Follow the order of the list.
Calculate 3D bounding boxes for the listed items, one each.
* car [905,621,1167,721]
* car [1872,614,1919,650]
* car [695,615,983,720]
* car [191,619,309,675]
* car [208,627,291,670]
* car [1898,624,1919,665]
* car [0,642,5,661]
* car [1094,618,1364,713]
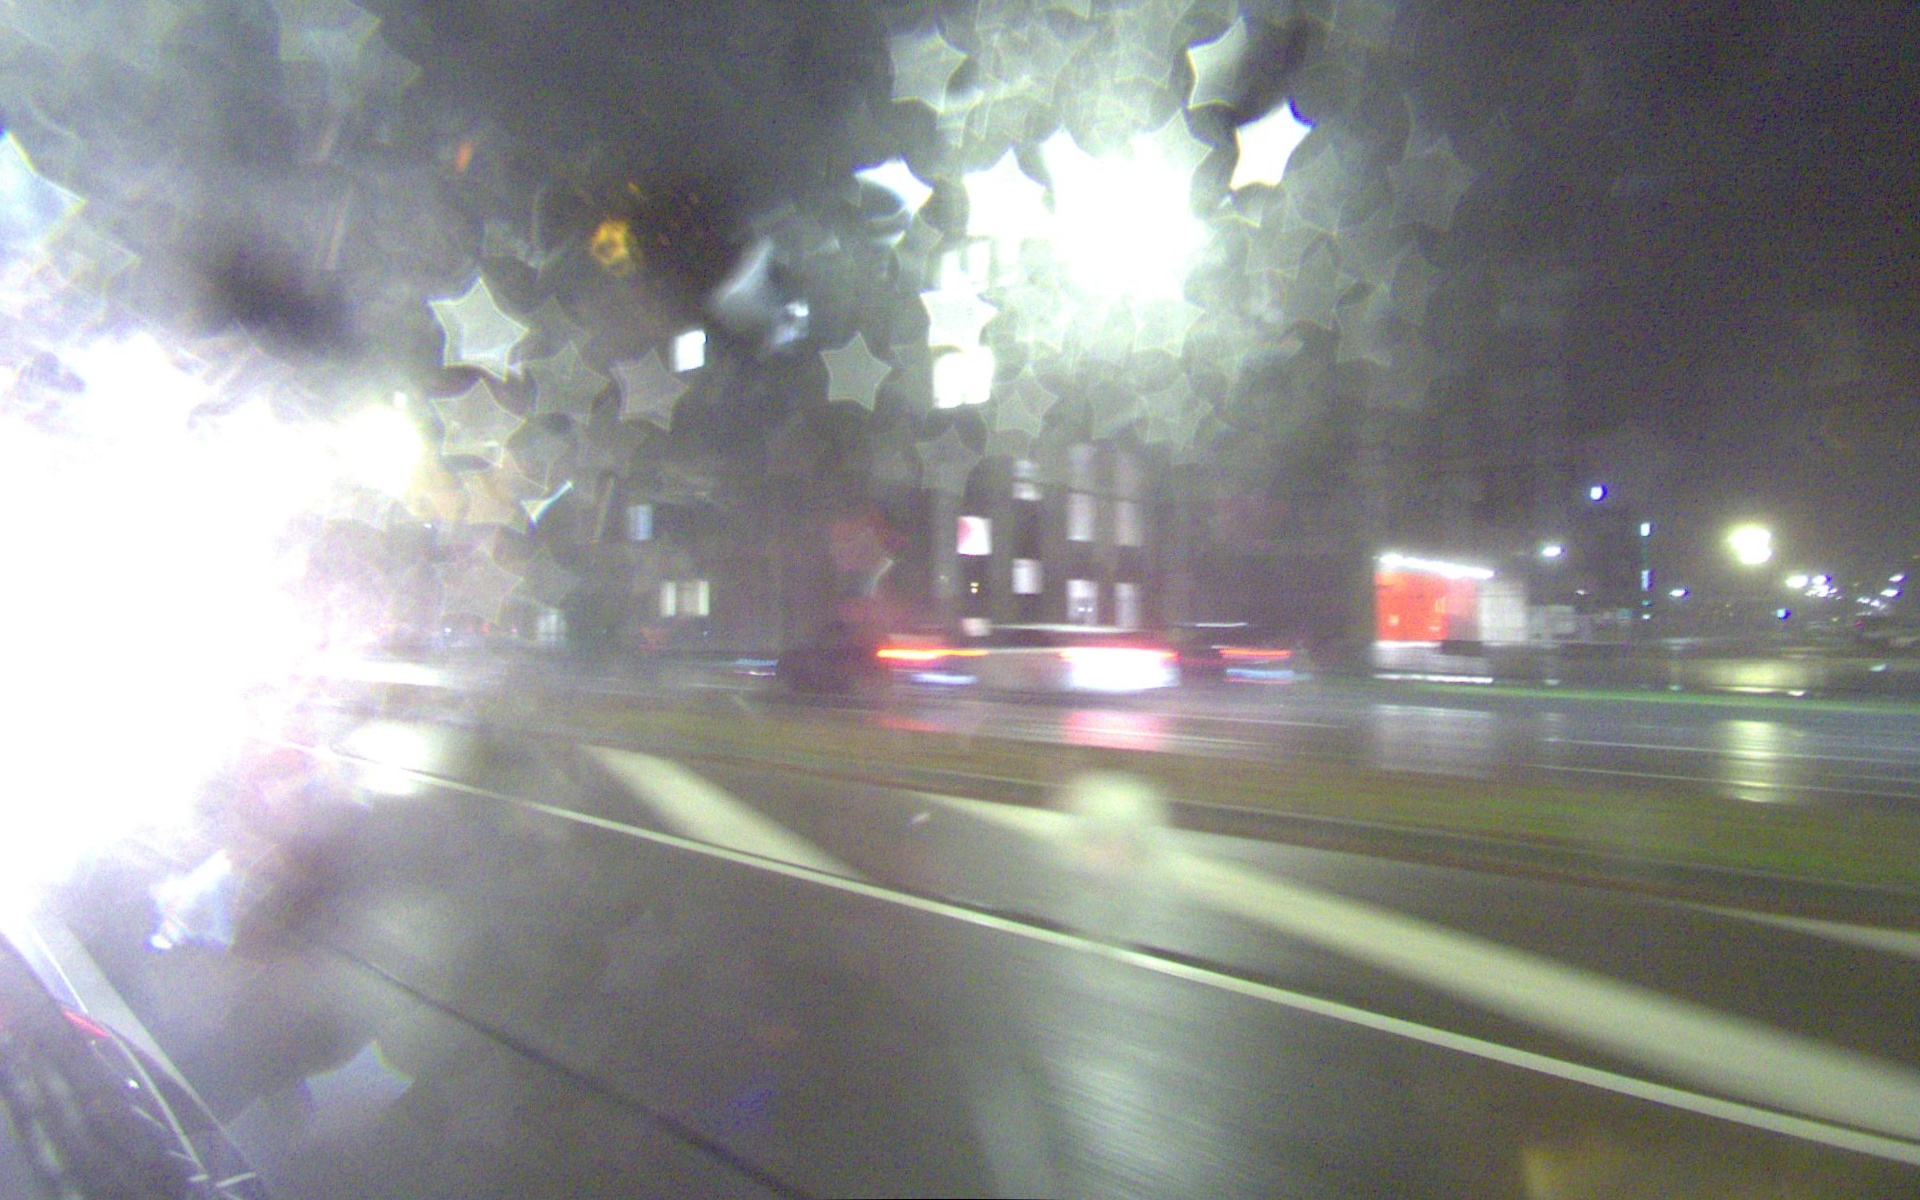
[{"bbox_3d":[1.314,1.228,18.965,4.748,1.604,1.824,-1,0,41],"label":"car"},{"bbox_3d":[50.852,1.651,53.303,3.996,1.829,1.974,-1,0,39],"label":"car"},{"bbox_3d":[-2.293,1.119,18.157,5.317,1.604,1.827,-1,0,36],"label":"car"},{"bbox_3d":[-22.034,1.447,31.370,4.251,1.605,1.825,-1,-5,39],"label":"car"},{"bbox_3d":[-28.231,1.897,40.170,3.816,1.589,1.690,-1,0,39],"label":"car"},{"bbox_3d":[46.335,2.058,46.911,3.996,1.829,1.974,-1,0,39],"label":"car"},{"bbox_3d":[-82.737,4.404,86.061,3.816,1.589,1.690,-1,0,39],"label":"car"},{"bbox_3d":[5.138,1.197,19.719,4.742,1.604,1.826,-1,0,37],"label":"car"}]
